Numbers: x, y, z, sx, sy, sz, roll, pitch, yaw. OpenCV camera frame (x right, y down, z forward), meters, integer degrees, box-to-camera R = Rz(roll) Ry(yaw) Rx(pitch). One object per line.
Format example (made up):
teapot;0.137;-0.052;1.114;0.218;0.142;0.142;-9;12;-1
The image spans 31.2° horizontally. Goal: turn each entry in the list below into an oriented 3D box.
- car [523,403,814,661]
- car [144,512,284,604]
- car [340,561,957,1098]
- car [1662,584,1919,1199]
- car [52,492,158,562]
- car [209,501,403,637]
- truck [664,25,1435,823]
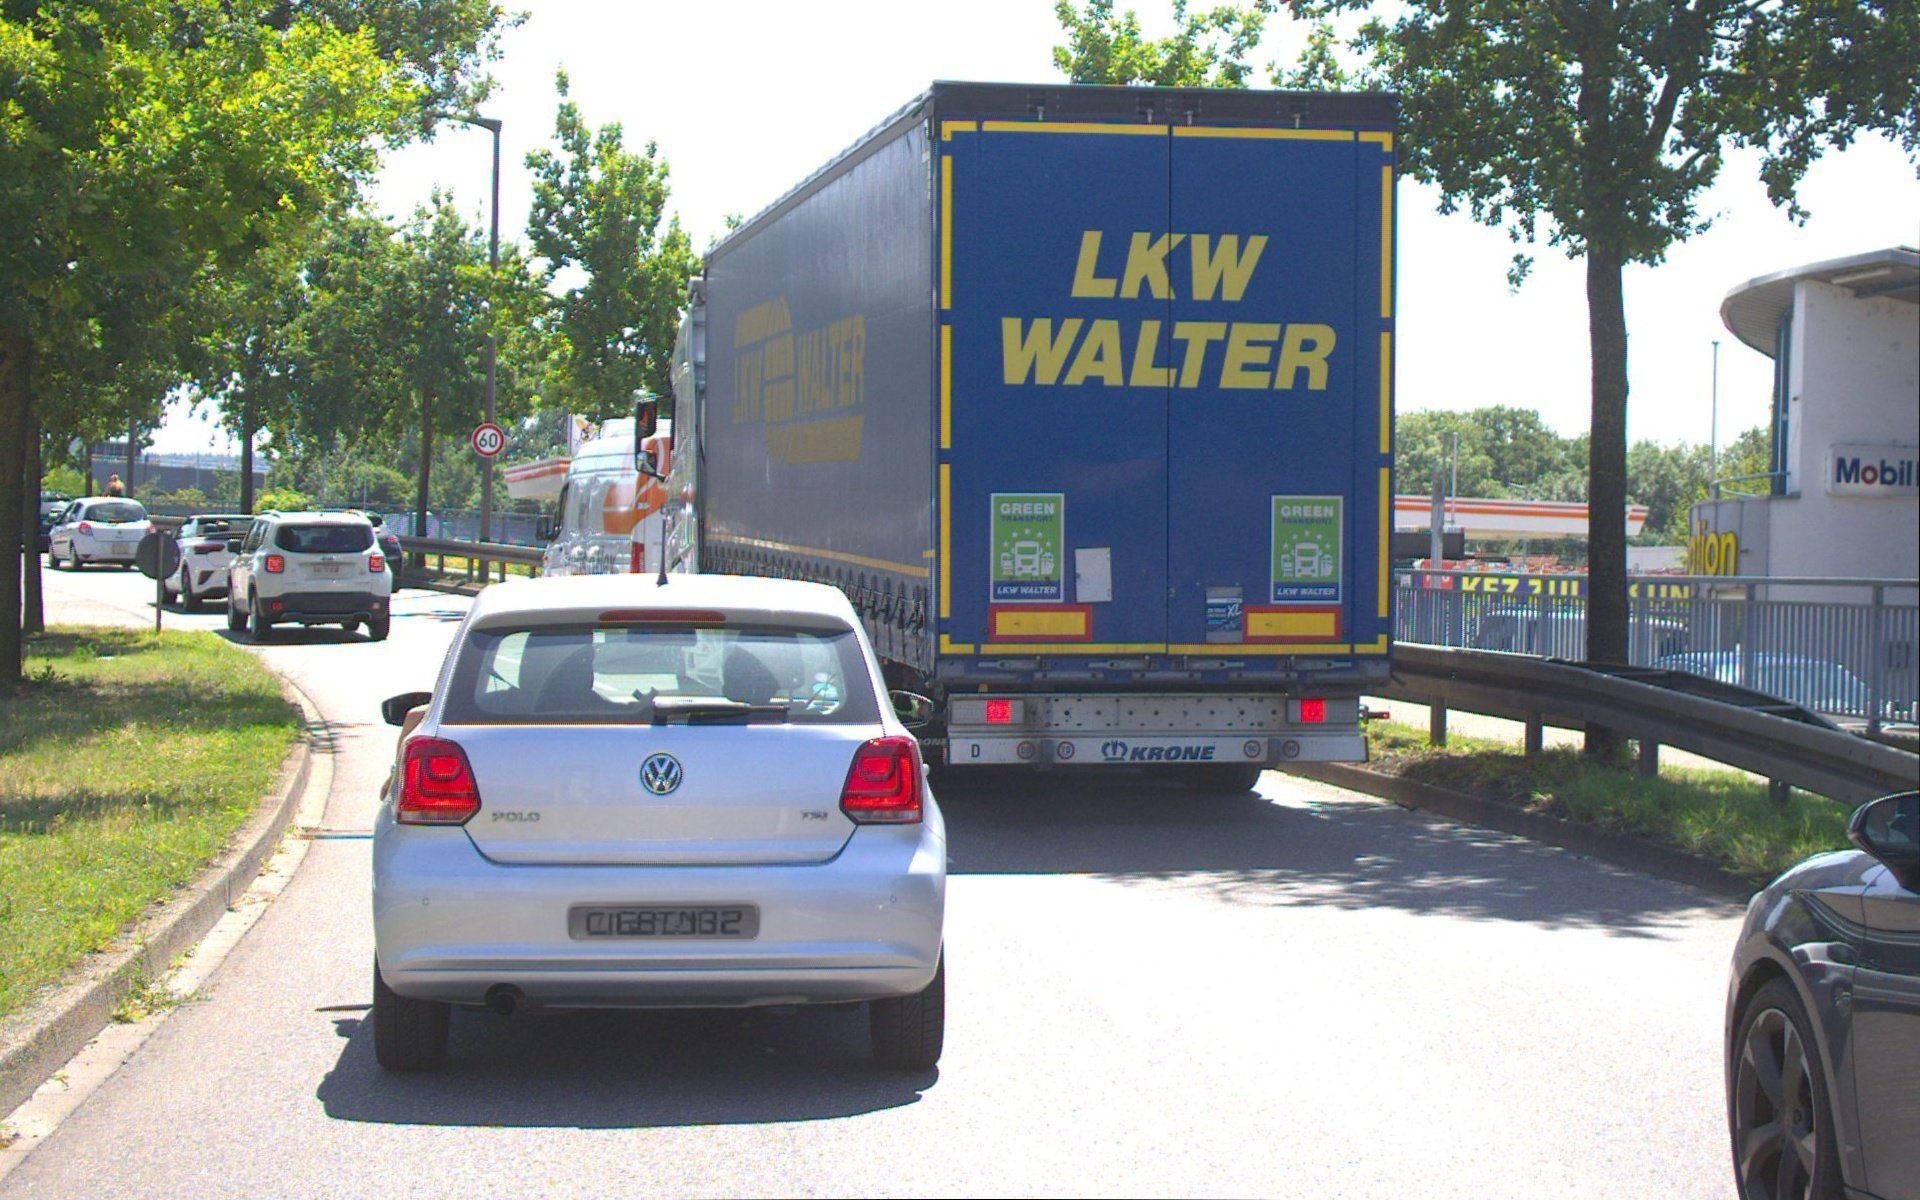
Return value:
car;-3.697;-0.889;42.236;2.175;2.890;6.360;1;2;-17
car;-11.710;-0.671;53.811;1.494;1.355;3.664;1;1;-23
car;-0.937;0.616;11.119;1.646;1.434;3.537;1;0;-3
car;2.633;0.721;5.710;1.604;1.451;4.236;1;0;-7
car;-17.434;-1.501;70.022;1.607;1.355;3.664;1;1;-21
car;-8.882;-0.420;46.419;1.903;1.712;4.225;1;0;-20
truck;-0.199;-1.085;26.505;2.832;4.184;16.479;1;1;-9
